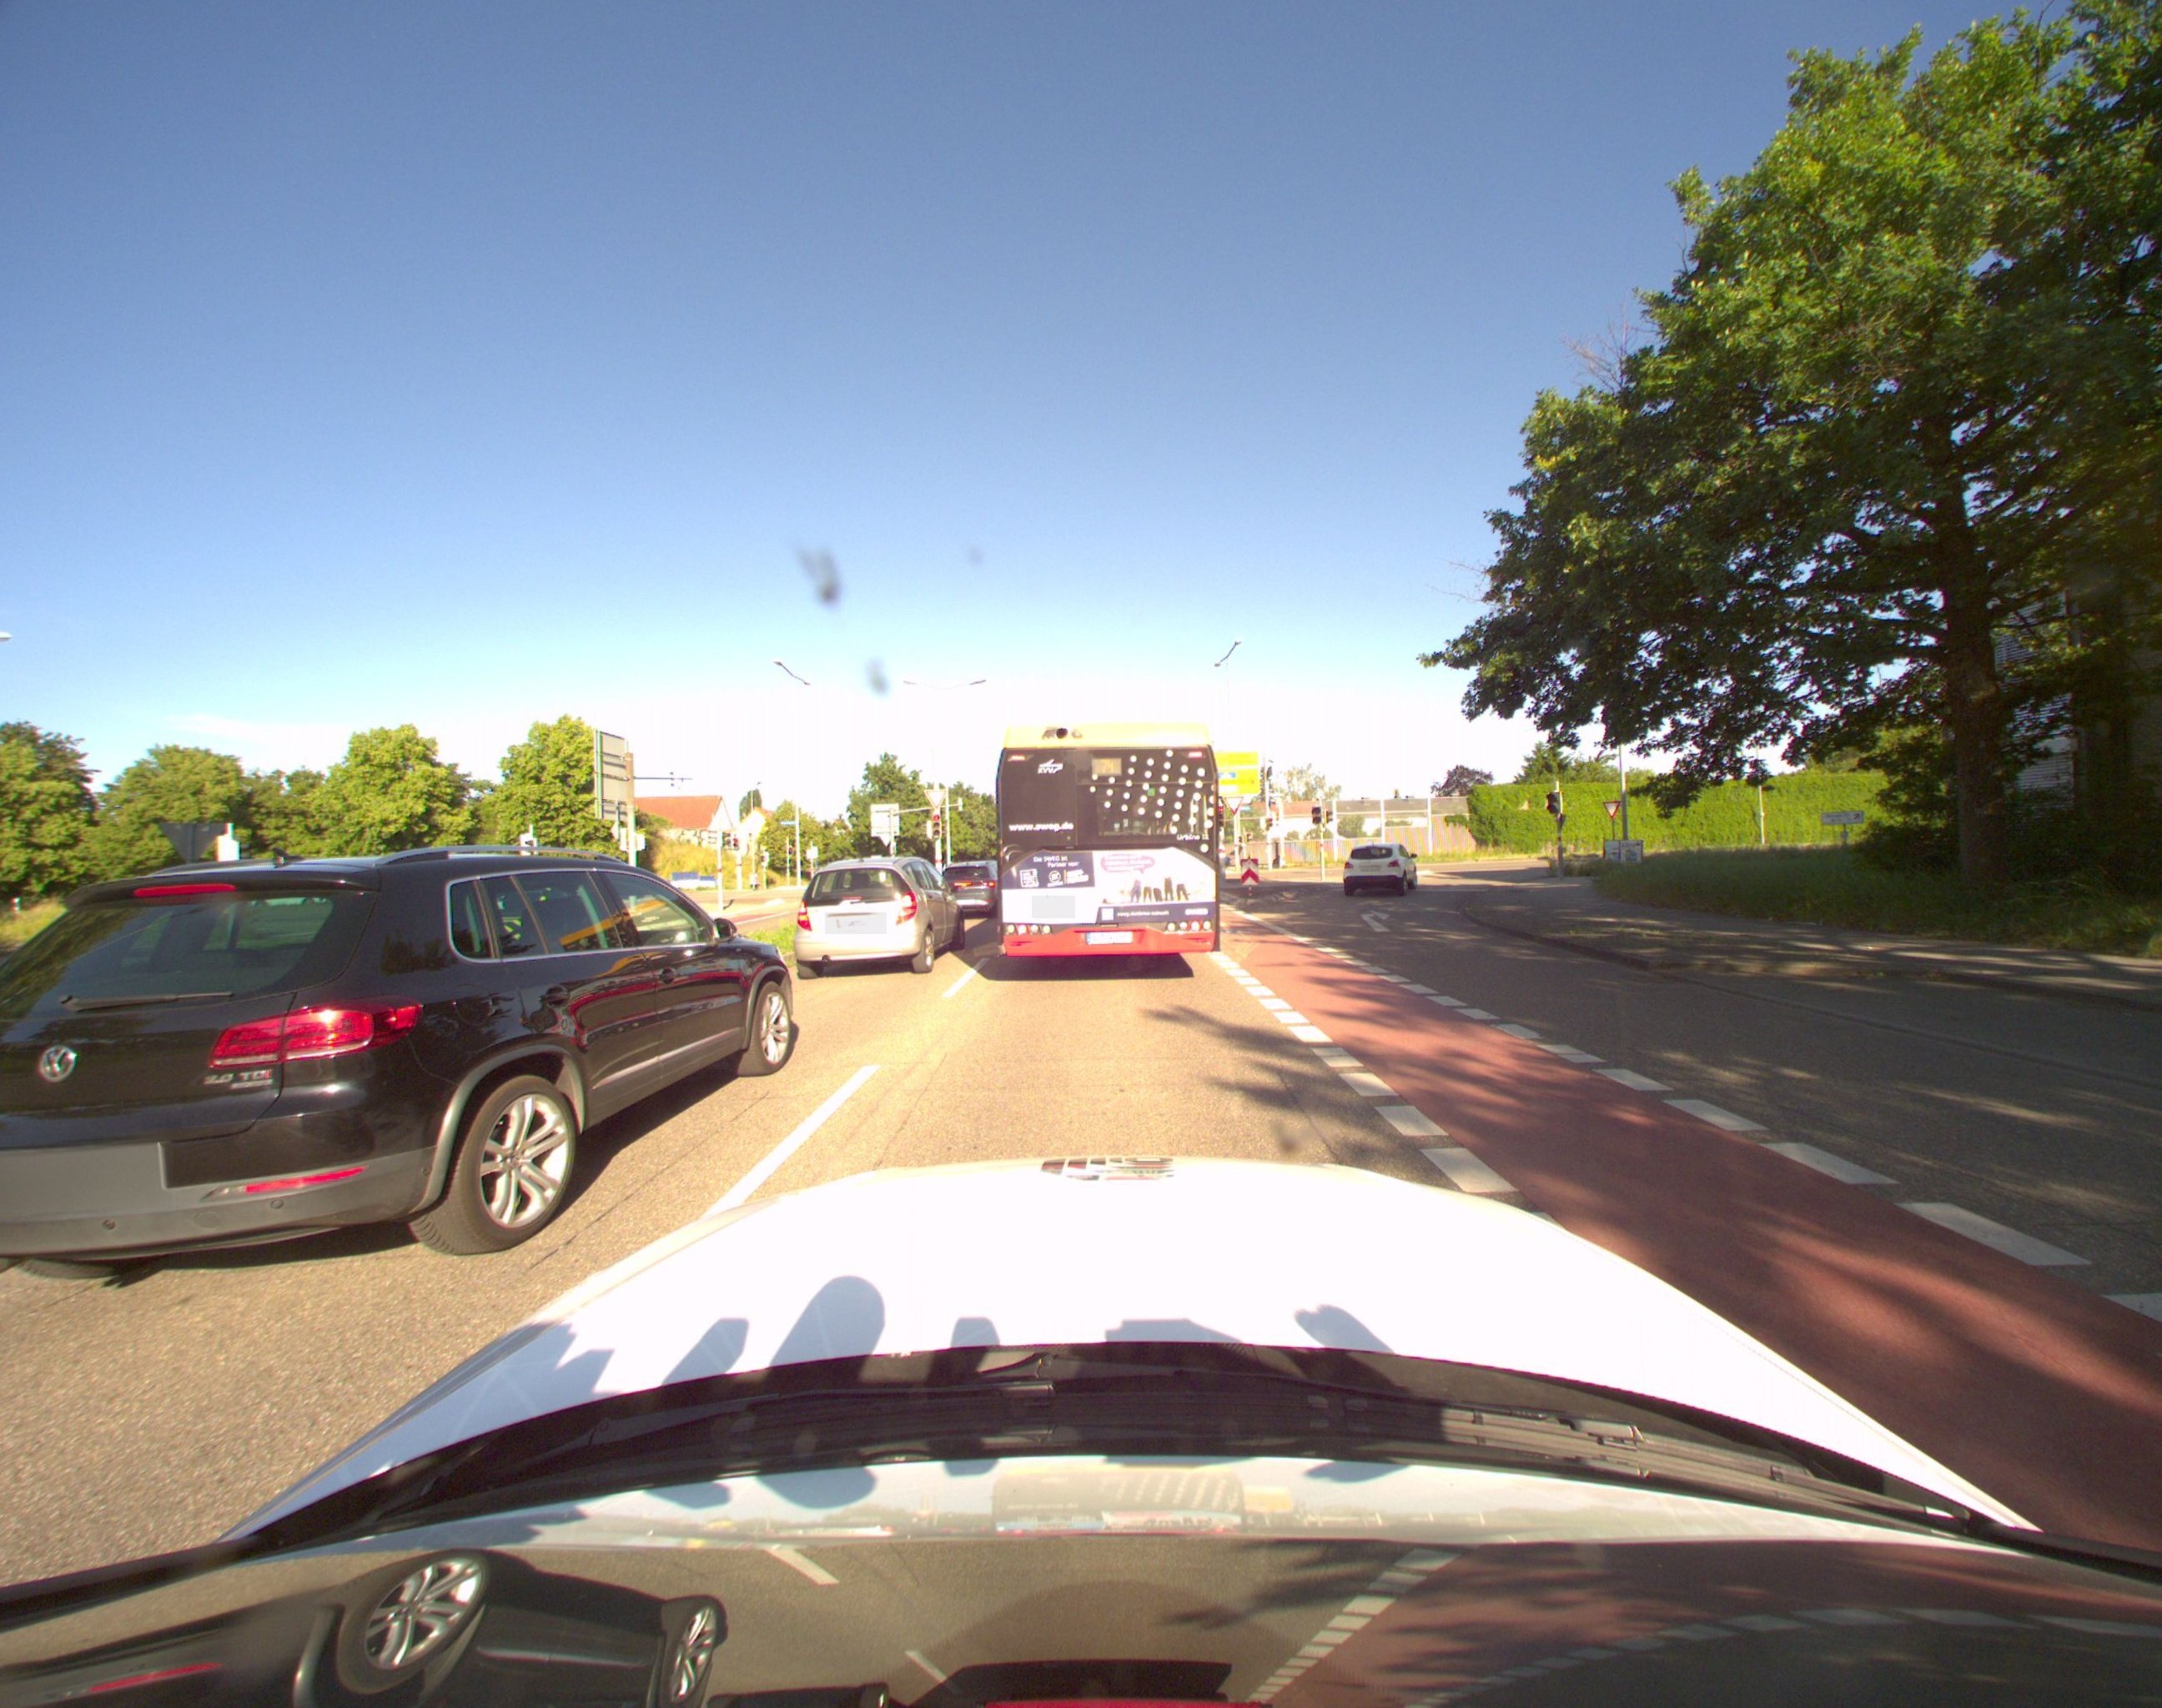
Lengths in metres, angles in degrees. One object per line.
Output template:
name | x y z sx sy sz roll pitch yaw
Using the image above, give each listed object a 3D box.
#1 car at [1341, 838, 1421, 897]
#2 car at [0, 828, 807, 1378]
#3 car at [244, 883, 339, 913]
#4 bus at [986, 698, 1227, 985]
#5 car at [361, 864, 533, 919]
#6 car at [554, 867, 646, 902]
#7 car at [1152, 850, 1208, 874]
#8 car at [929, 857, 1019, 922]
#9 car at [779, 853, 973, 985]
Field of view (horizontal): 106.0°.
car | 9.548 0.381 25.732 1.701 1.607 4.093 -2 1 29
car | -3.172 0.799 4.543 1.766 1.653 4.001 -3 0 1
car | -46.731 2.587 48.275 3.800 1.612 1.704 0 -1 -5
bus | 0.521 -0.164 15.008 2.632 3.167 11.867 -1 0 2
car | -26.717 1.527 34.479 5.375 2.118 2.178 -1 -1 -4
car | -24.573 1.545 41.661 3.577 1.560 1.747 -2 0 -5
car | 7.809 0.659 64.356 3.951 1.816 1.934 -1 -1 23
car | -2.690 0.858 21.303 1.686 1.458 3.751 -3 0 1
car | -2.876 0.825 12.370 1.755 1.589 4.001 -3 0 1
